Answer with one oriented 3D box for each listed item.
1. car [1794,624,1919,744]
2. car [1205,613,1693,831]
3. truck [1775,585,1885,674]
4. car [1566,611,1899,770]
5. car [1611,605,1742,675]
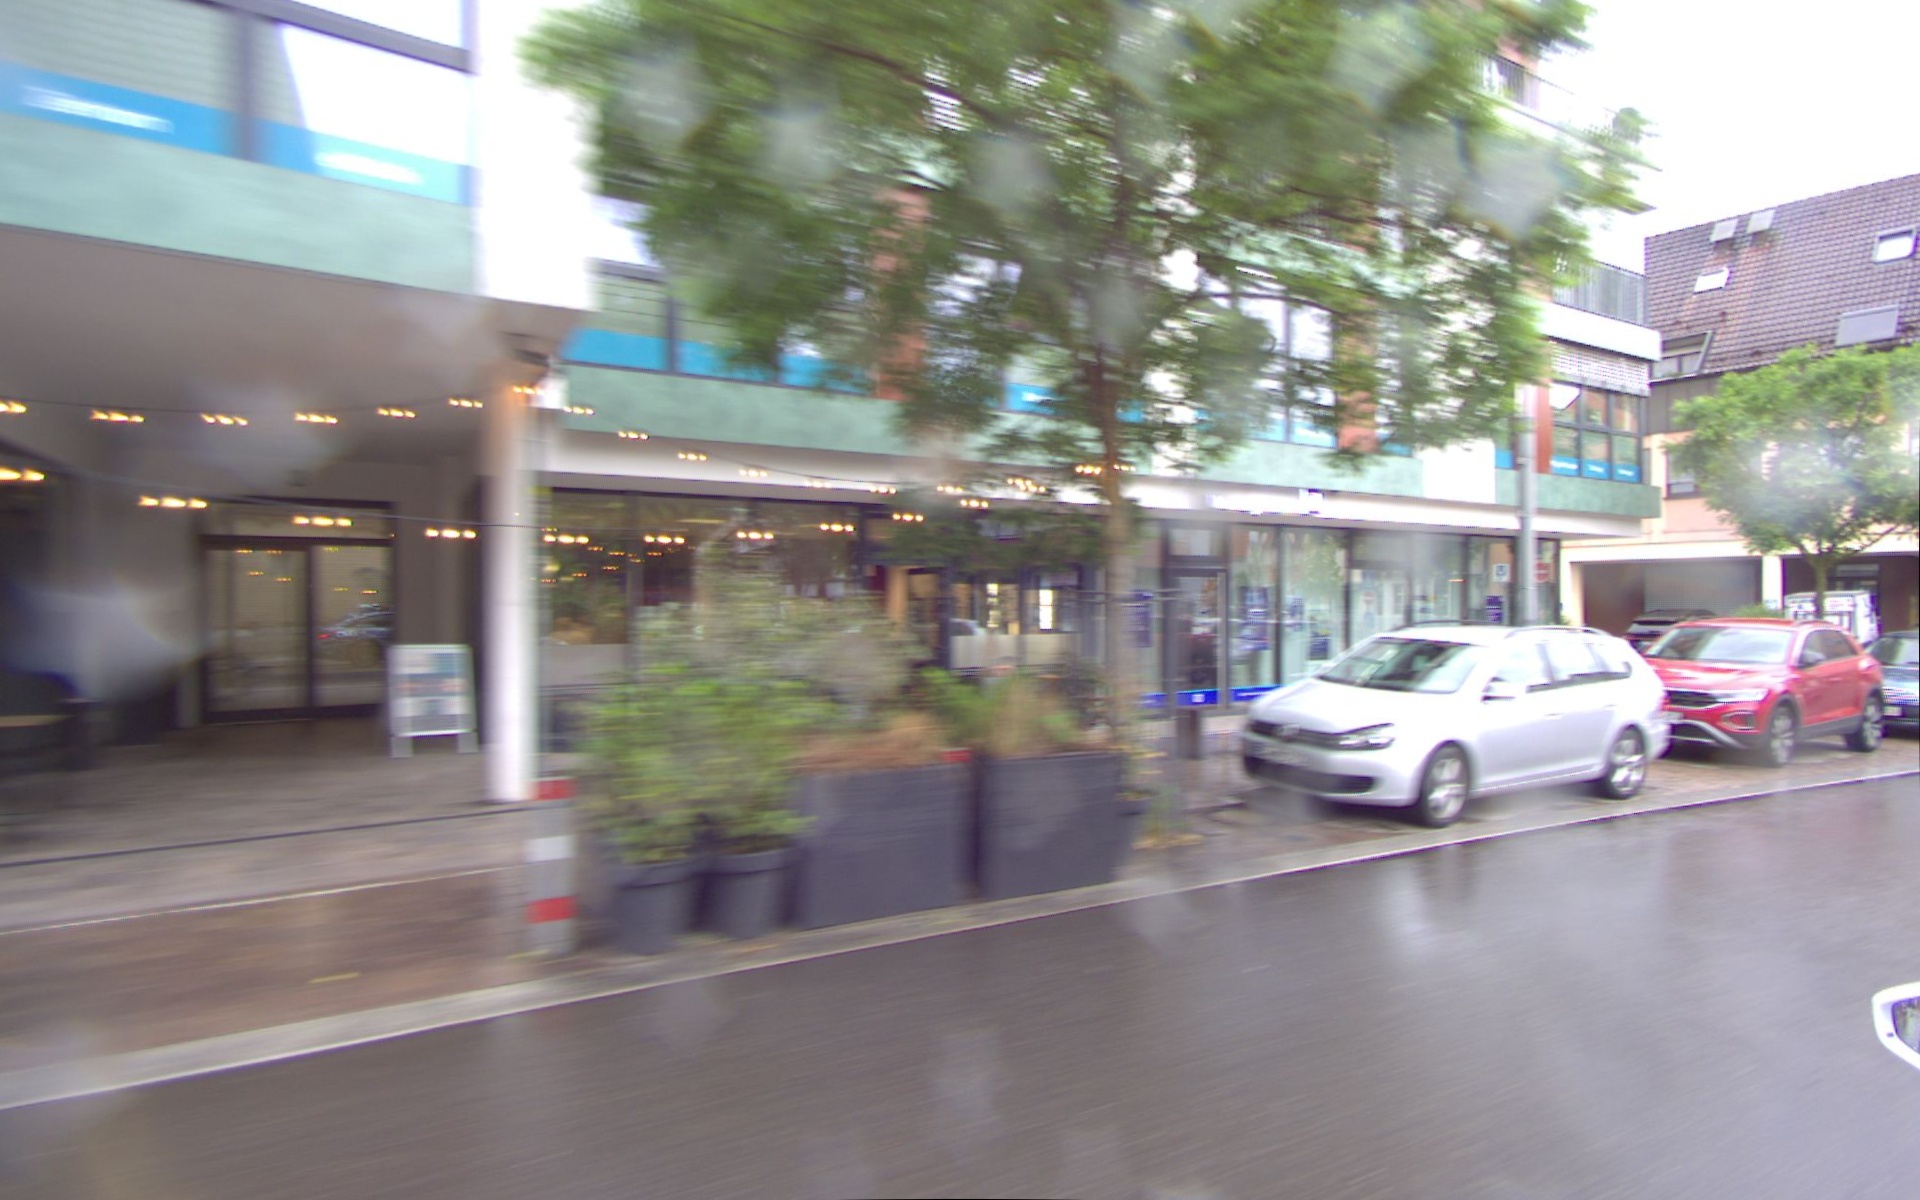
[{"bbox_3d":[13.671,1.102,14.094,3.861,1.477,1.707,1,0,-28],"label":"car"},{"bbox_3d":[4.414,0.908,8.888,4.403,1.518,1.778,1,-2,-31],"label":"car"},{"bbox_3d":[23.399,0.754,26.998,3.163,2.090,1.585,-5,1,-38],"label":"truck"},{"bbox_3d":[9.205,0.971,11.917,4.059,1.597,1.778,1,-2,-31],"label":"car"},{"bbox_3d":[20.814,1.107,29.131,3.957,1.640,1.801,-4,2,-34],"label":"car"}]
